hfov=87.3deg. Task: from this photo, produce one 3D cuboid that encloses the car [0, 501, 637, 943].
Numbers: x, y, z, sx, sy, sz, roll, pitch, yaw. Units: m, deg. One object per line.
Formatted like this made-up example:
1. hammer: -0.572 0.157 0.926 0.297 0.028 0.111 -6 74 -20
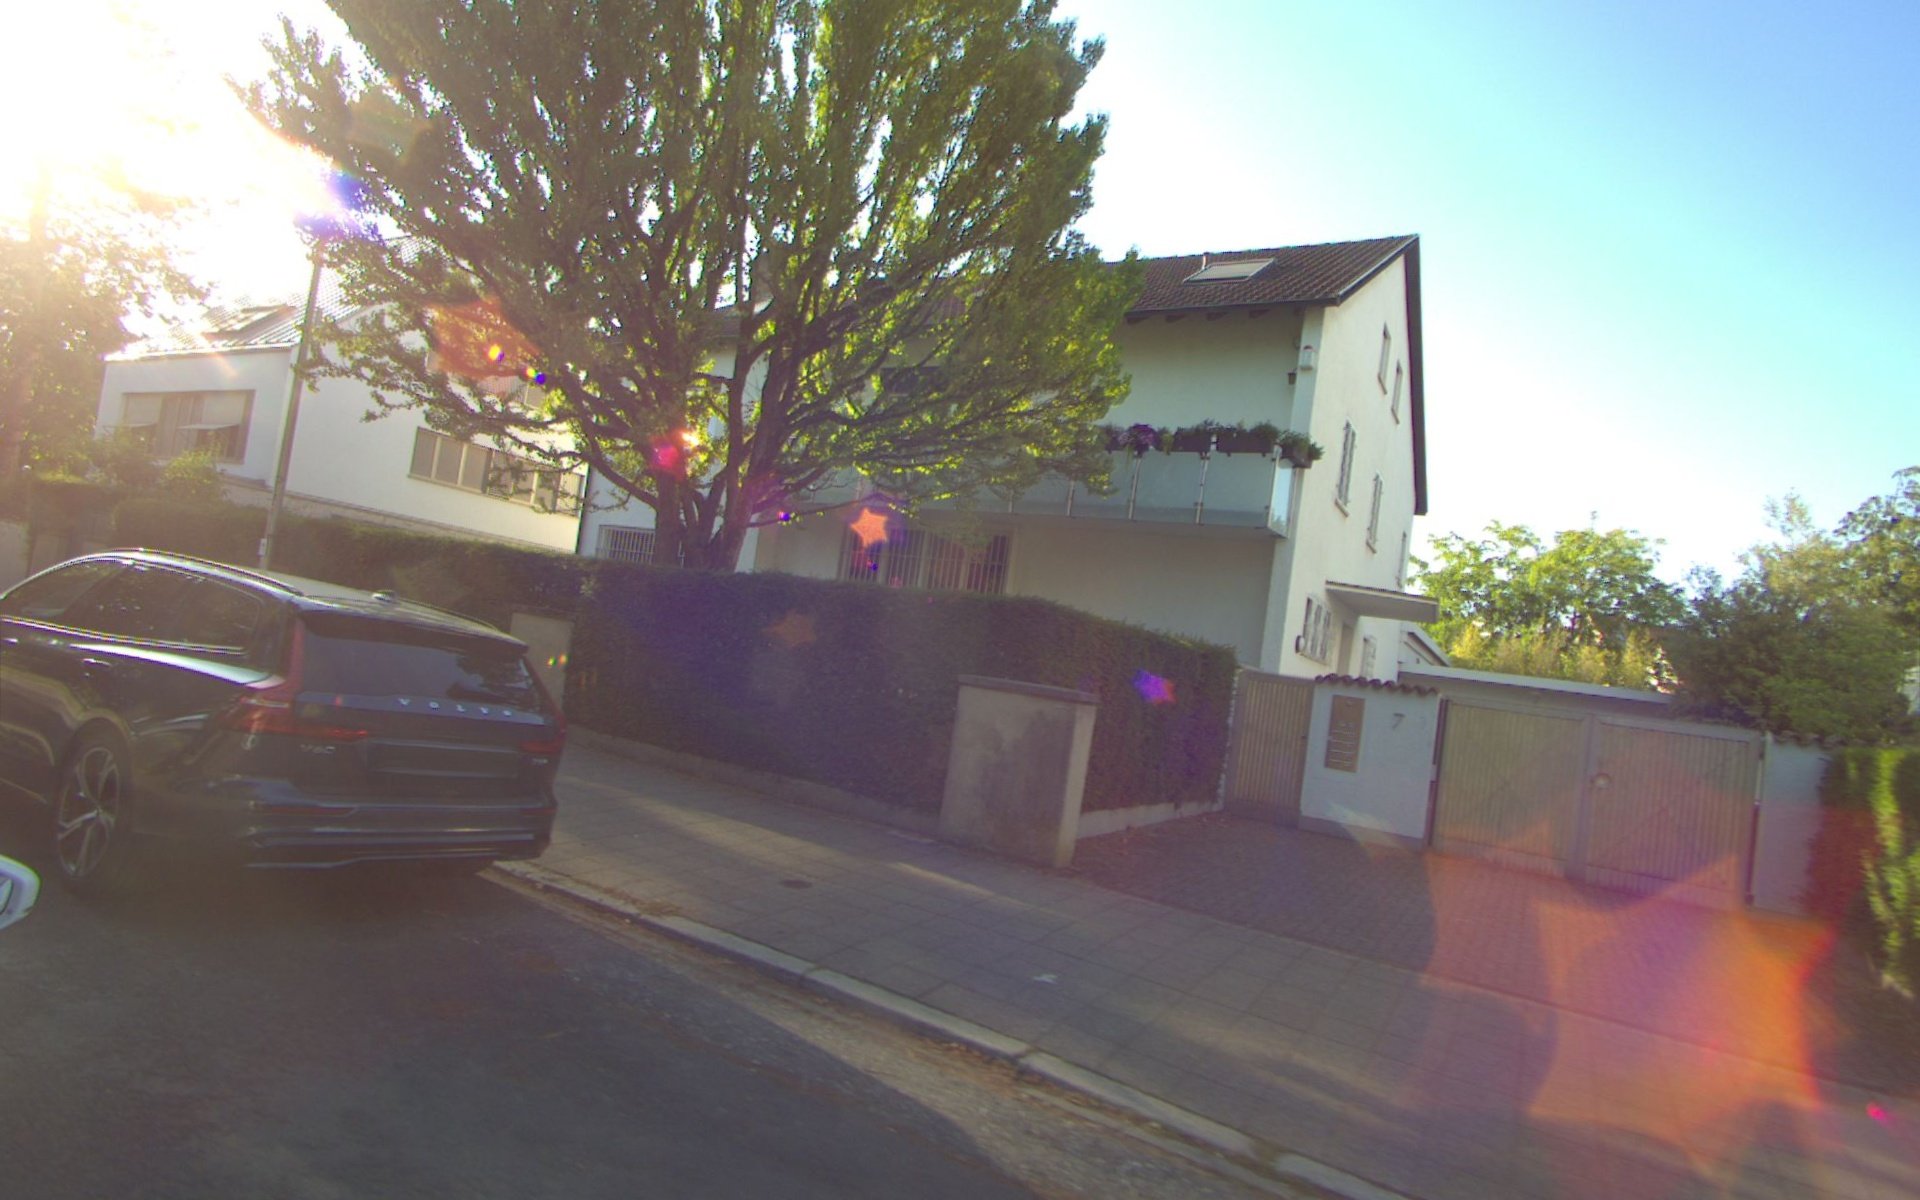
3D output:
1. car: -4.165 0.405 5.529 4.596 1.507 1.799 5 -5 30
